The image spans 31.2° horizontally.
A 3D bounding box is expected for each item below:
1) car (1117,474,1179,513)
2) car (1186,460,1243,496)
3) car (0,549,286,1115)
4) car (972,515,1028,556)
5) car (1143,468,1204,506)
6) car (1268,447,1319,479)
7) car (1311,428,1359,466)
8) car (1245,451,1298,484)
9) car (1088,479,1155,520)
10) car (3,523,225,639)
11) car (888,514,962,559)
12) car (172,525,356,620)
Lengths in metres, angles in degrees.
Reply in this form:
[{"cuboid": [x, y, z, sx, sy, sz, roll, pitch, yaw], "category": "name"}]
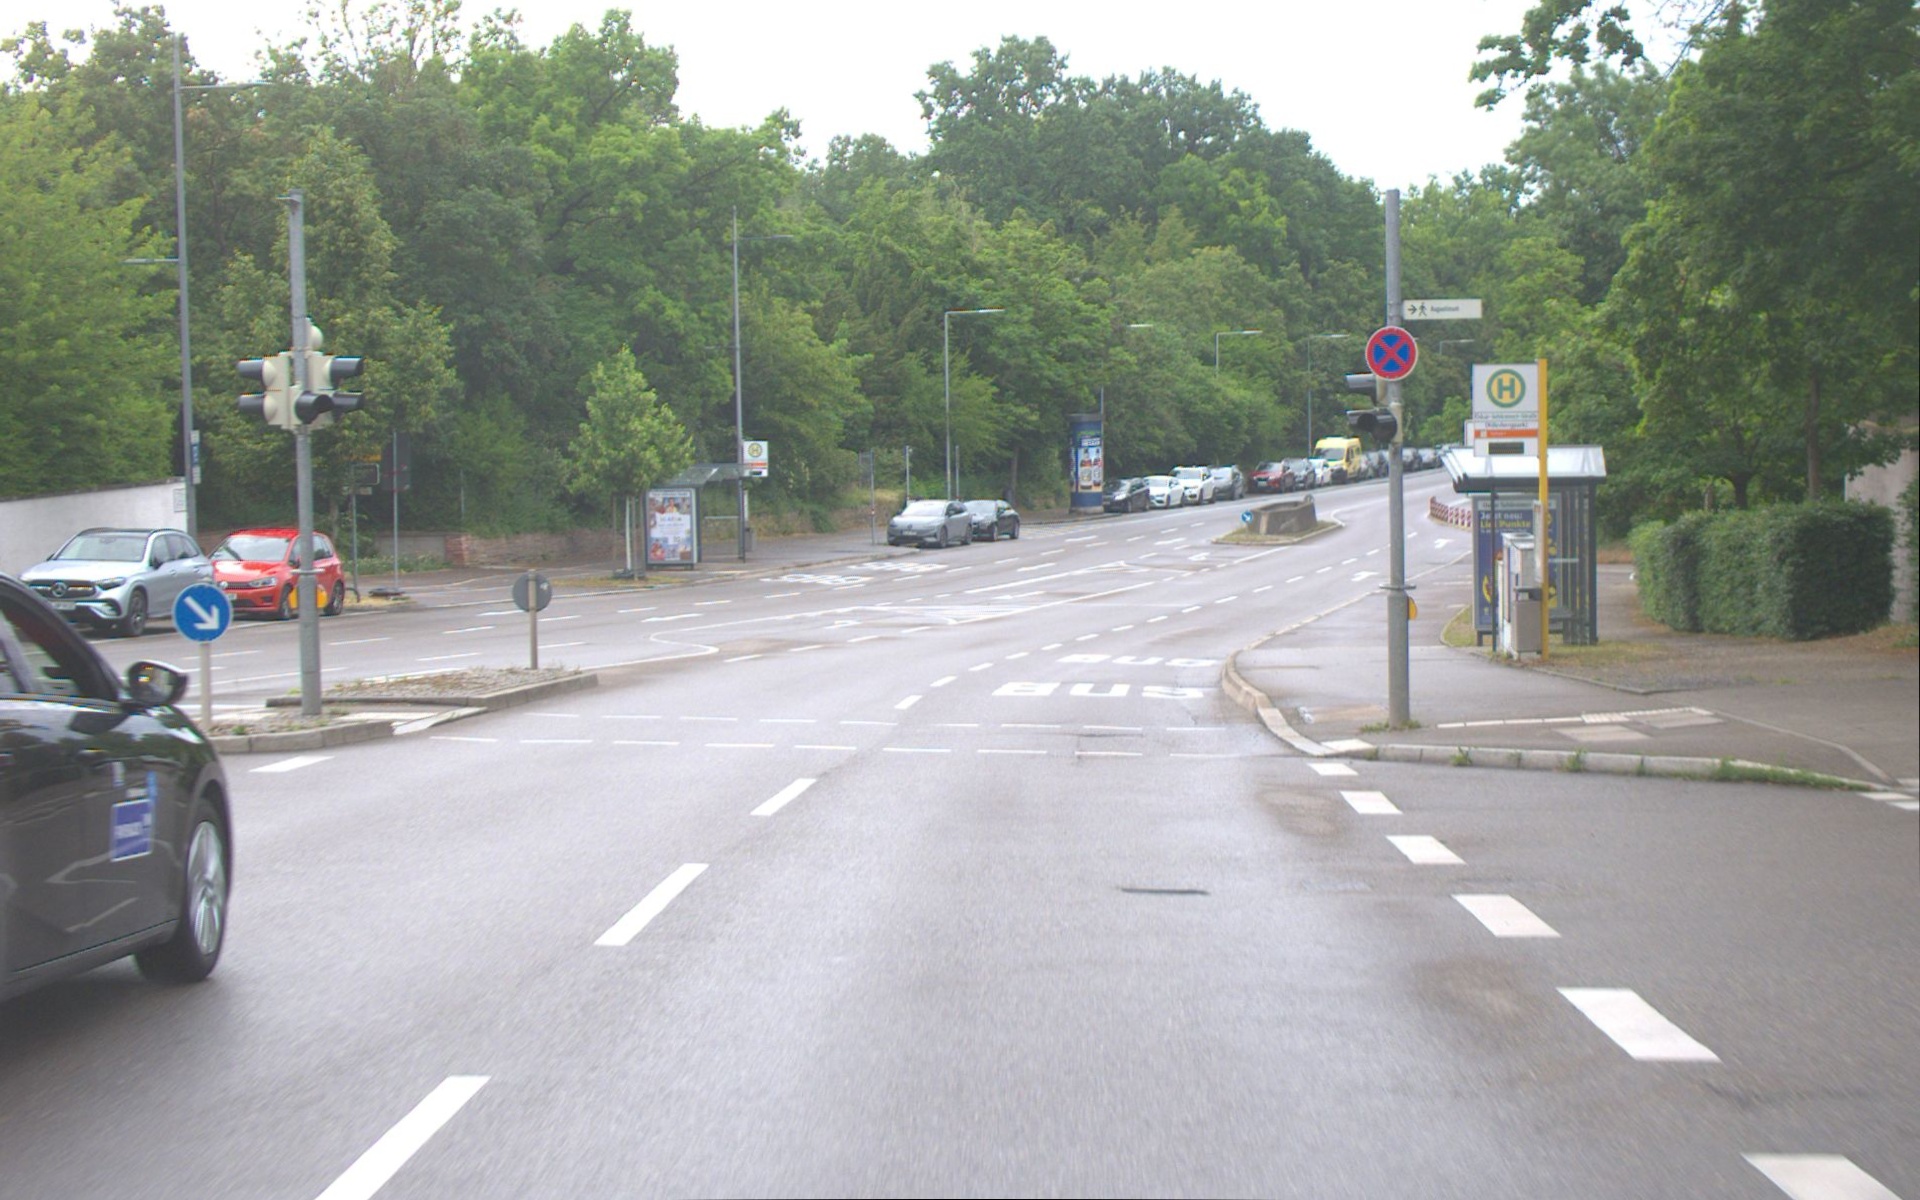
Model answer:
[{"cuboid": [8.437, -4.795, 153.904, 1.860, 1.480, 3.998, 2, 5, 16], "category": "car"}, {"cuboid": [12.375, -5.938, 166.920, 1.958, 1.480, 3.998, 2, 5, 16], "category": "car"}, {"cuboid": [-3.380, 0.604, 9.815, 1.800, 1.425, 4.520, 1, 2, 3], "category": "car"}, {"cuboid": [1.424, -2.270, 120.727, 1.417, 1.419, 3.121, 0, 1, 11], "category": "car"}, {"cuboid": [9.860, -5.220, 158.750, 1.958, 1.480, 3.998, 2, 5, 16], "category": "car"}, {"cuboid": [17.860, -7.345, 184.091, 1.958, 1.480, 3.998, 2, 5, 16], "category": "car"}, {"cuboid": [21.138, -8.623, 193.779, 1.958, 1.930, 3.998, 2, 5, 16], "category": "car"}, {"cuboid": [16.234, -6.896, 178.966, 1.958, 1.480, 3.998, 2, 5, 16], "category": "car"}, {"cuboid": [7.019, -4.377, 149.158, 1.958, 1.480, 3.998, 2, 5, 16], "category": "car"}, {"cuboid": [-13.212, -0.334, 53.941, 1.854, 1.634, 4.092, 2, 2, 10], "category": "car"}, {"cuboid": [-1.154, -2.136, 114.886, 1.714, 1.455, 3.748, 0, 1, 12], "category": "car"}, {"cuboid": [-12.338, -0.519, 61.193, 1.875, 1.569, 4.222, 1, 2, 8], "category": "car"}]
